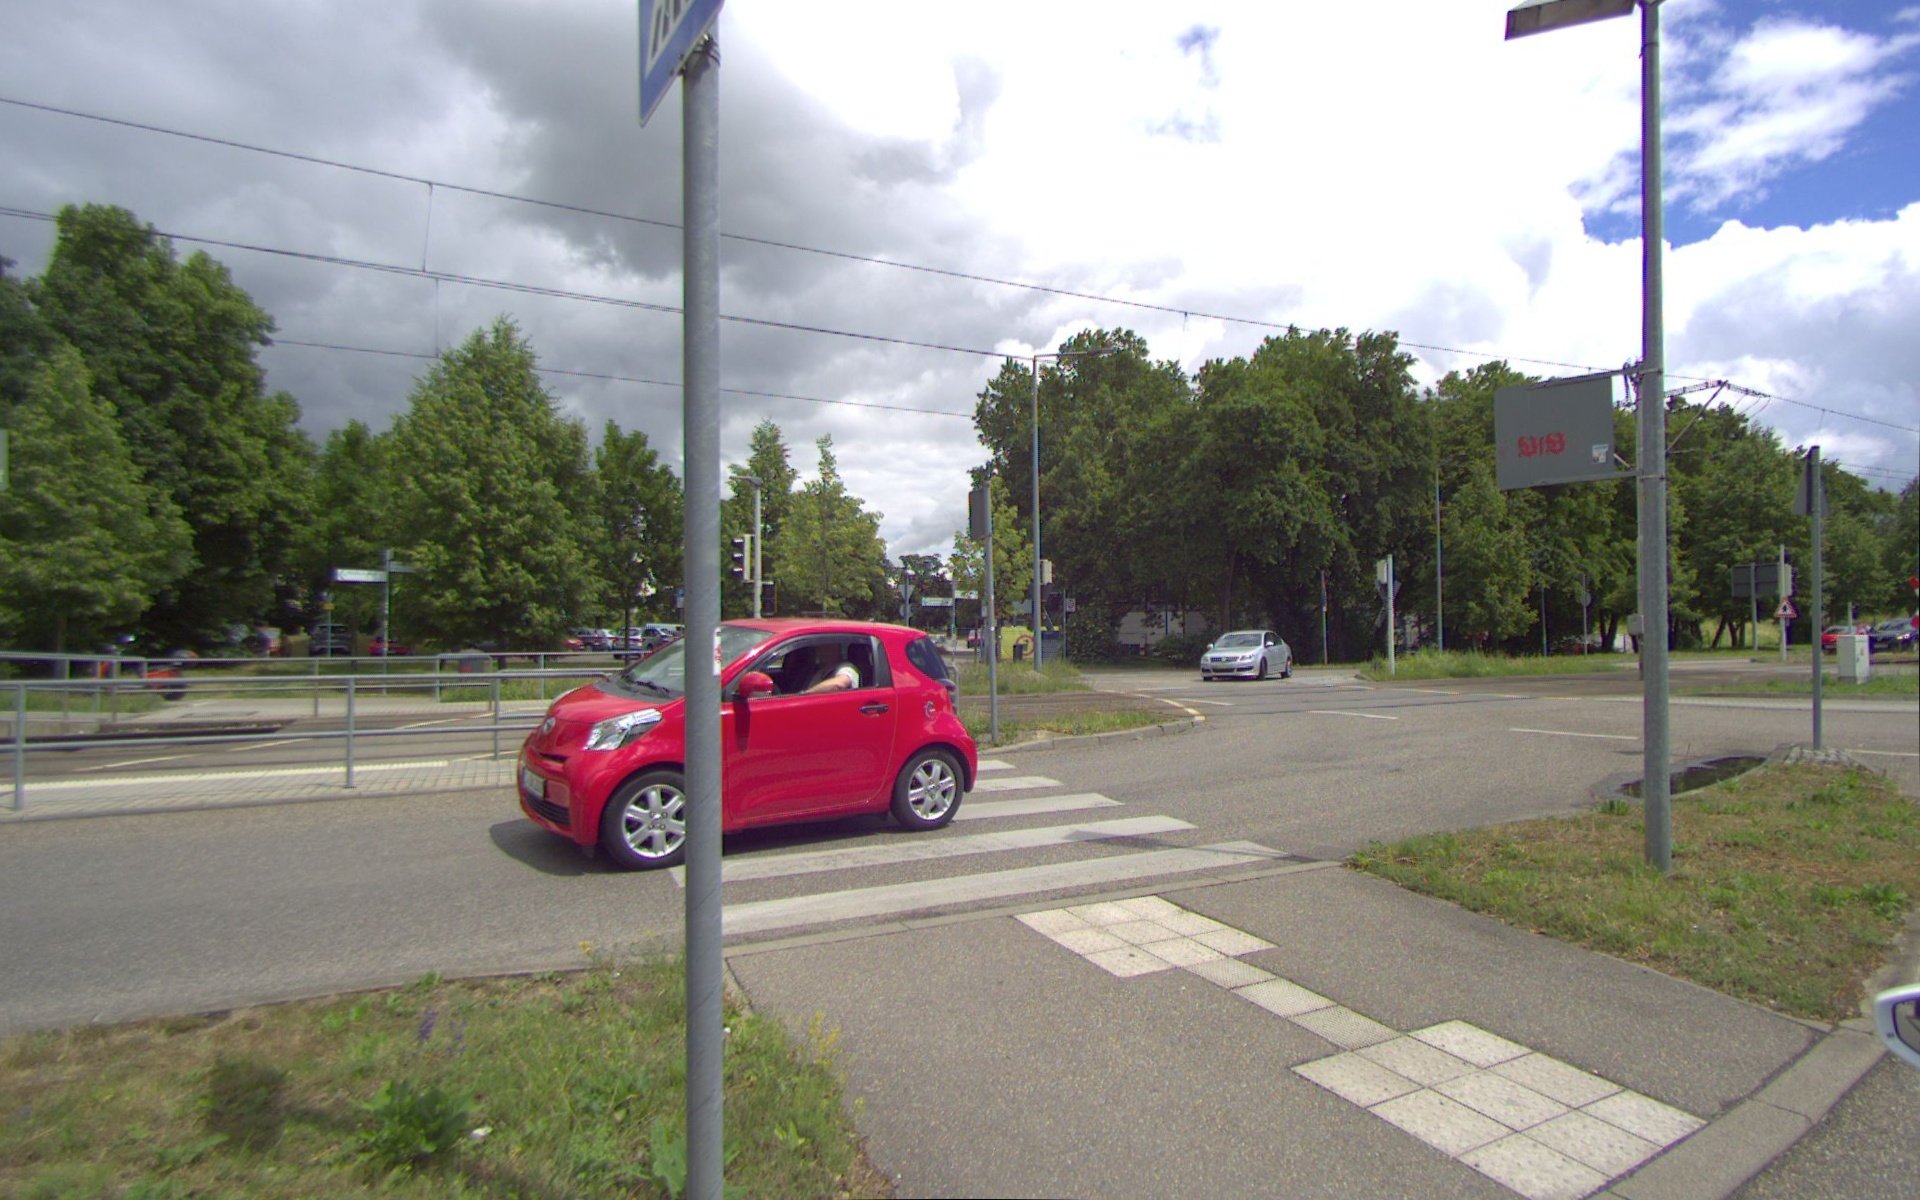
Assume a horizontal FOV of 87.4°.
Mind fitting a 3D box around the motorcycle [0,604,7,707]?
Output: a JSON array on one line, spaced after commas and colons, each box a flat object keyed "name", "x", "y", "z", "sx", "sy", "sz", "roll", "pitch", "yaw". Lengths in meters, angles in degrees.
[{"name": "motorcycle", "x": -19.952, "y": 1.093, "z": 19.465, "sx": 1.949, "sy": 2.040, "sz": 0.834, "roll": 0, "pitch": -2, "yaw": -14}]

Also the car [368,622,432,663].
[{"name": "car", "x": -26.762, "y": 2.008, "z": 48.138, "sx": 1.969, "sy": 1.859, "sz": 3.983, "roll": 0, "pitch": -1, "yaw": -19}]

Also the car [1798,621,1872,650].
[{"name": "car", "x": 42.629, "y": 1.718, "z": 48.948, "sx": 3.551, "sy": 1.388, "sz": 1.523, "roll": 1, "pitch": -2, "yaw": -28}]

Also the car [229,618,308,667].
[{"name": "car", "x": -30.987, "y": 1.869, "z": 45.131, "sx": 1.897, "sy": 2.040, "sz": 3.983, "roll": 0, "pitch": -1, "yaw": -19}]

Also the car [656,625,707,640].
[{"name": "car", "x": -21.352, "y": 2.479, "z": 76.964, "sx": 3.380, "sy": 1.034, "sz": 1.633, "roll": -1, "pitch": -1, "yaw": 9}]

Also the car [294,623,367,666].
[{"name": "car", "x": -29.015, "y": 2.006, "z": 46.440, "sx": 1.969, "sy": 1.859, "sz": 3.983, "roll": 0, "pitch": -1, "yaw": -19}]

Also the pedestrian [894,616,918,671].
[{"name": "pedestrian", "x": -2.078, "y": 1.647, "z": 38.235, "sx": 0.807, "sy": 2.040, "sz": 0.962, "roll": -1, "pitch": -1, "yaw": -9}]

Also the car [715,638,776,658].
[{"name": "car", "x": -12.105, "y": 2.708, "z": 56.779, "sx": 3.042, "sy": 1.096, "sz": 1.417, "roll": -1, "pitch": -1, "yaw": 4}]

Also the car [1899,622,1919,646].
[{"name": "car", "x": 52.299, "y": 1.802, "z": 53.751, "sx": 3.518, "sy": 1.270, "sz": 1.801, "roll": 0, "pitch": -1, "yaw": -24}]

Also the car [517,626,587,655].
[{"name": "car", "x": -23.188, "y": 2.282, "z": 57.141, "sx": 3.409, "sy": 1.587, "sz": 1.493, "roll": -1, "pitch": -1, "yaw": 6}]

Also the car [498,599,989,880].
[{"name": "car", "x": -1.457, "y": 0.794, "z": 7.050, "sx": 2.941, "sy": 1.523, "sz": 1.706, "roll": 1, "pitch": -2, "yaw": -39}]

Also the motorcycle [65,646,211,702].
[{"name": "motorcycle", "x": -16.964, "y": 1.508, "z": 20.800, "sx": 2.182, "sy": 1.095, "sz": 0.728, "roll": 1, "pitch": -2, "yaw": -20}]

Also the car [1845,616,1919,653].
[{"name": "car", "x": 42.222, "y": 1.544, "z": 45.139, "sx": 4.356, "sy": 1.618, "sz": 1.989, "roll": 1, "pitch": -2, "yaw": -23}]

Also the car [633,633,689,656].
[{"name": "car", "x": -21.302, "y": 3.184, "z": 71.702, "sx": 3.512, "sy": 1.525, "sz": 1.516, "roll": -1, "pitch": -1, "yaw": 7}]

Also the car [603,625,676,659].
[{"name": "car", "x": -16.695, "y": 2.186, "z": 52.475, "sx": 1.959, "sy": 1.660, "sz": 4.142, "roll": -1, "pitch": -1, "yaw": 9}]

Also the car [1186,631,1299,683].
[{"name": "car", "x": 8.280, "y": 1.623, "z": 29.229, "sx": 1.854, "sy": 1.368, "sz": 3.815, "roll": -3, "pitch": -2, "yaw": 38}]

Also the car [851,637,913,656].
[{"name": "car", "x": -5.367, "y": 3.209, "z": 69.497, "sx": 3.919, "sy": 1.243, "sz": 2.051, "roll": -1, "pitch": -1, "yaw": 6}]
